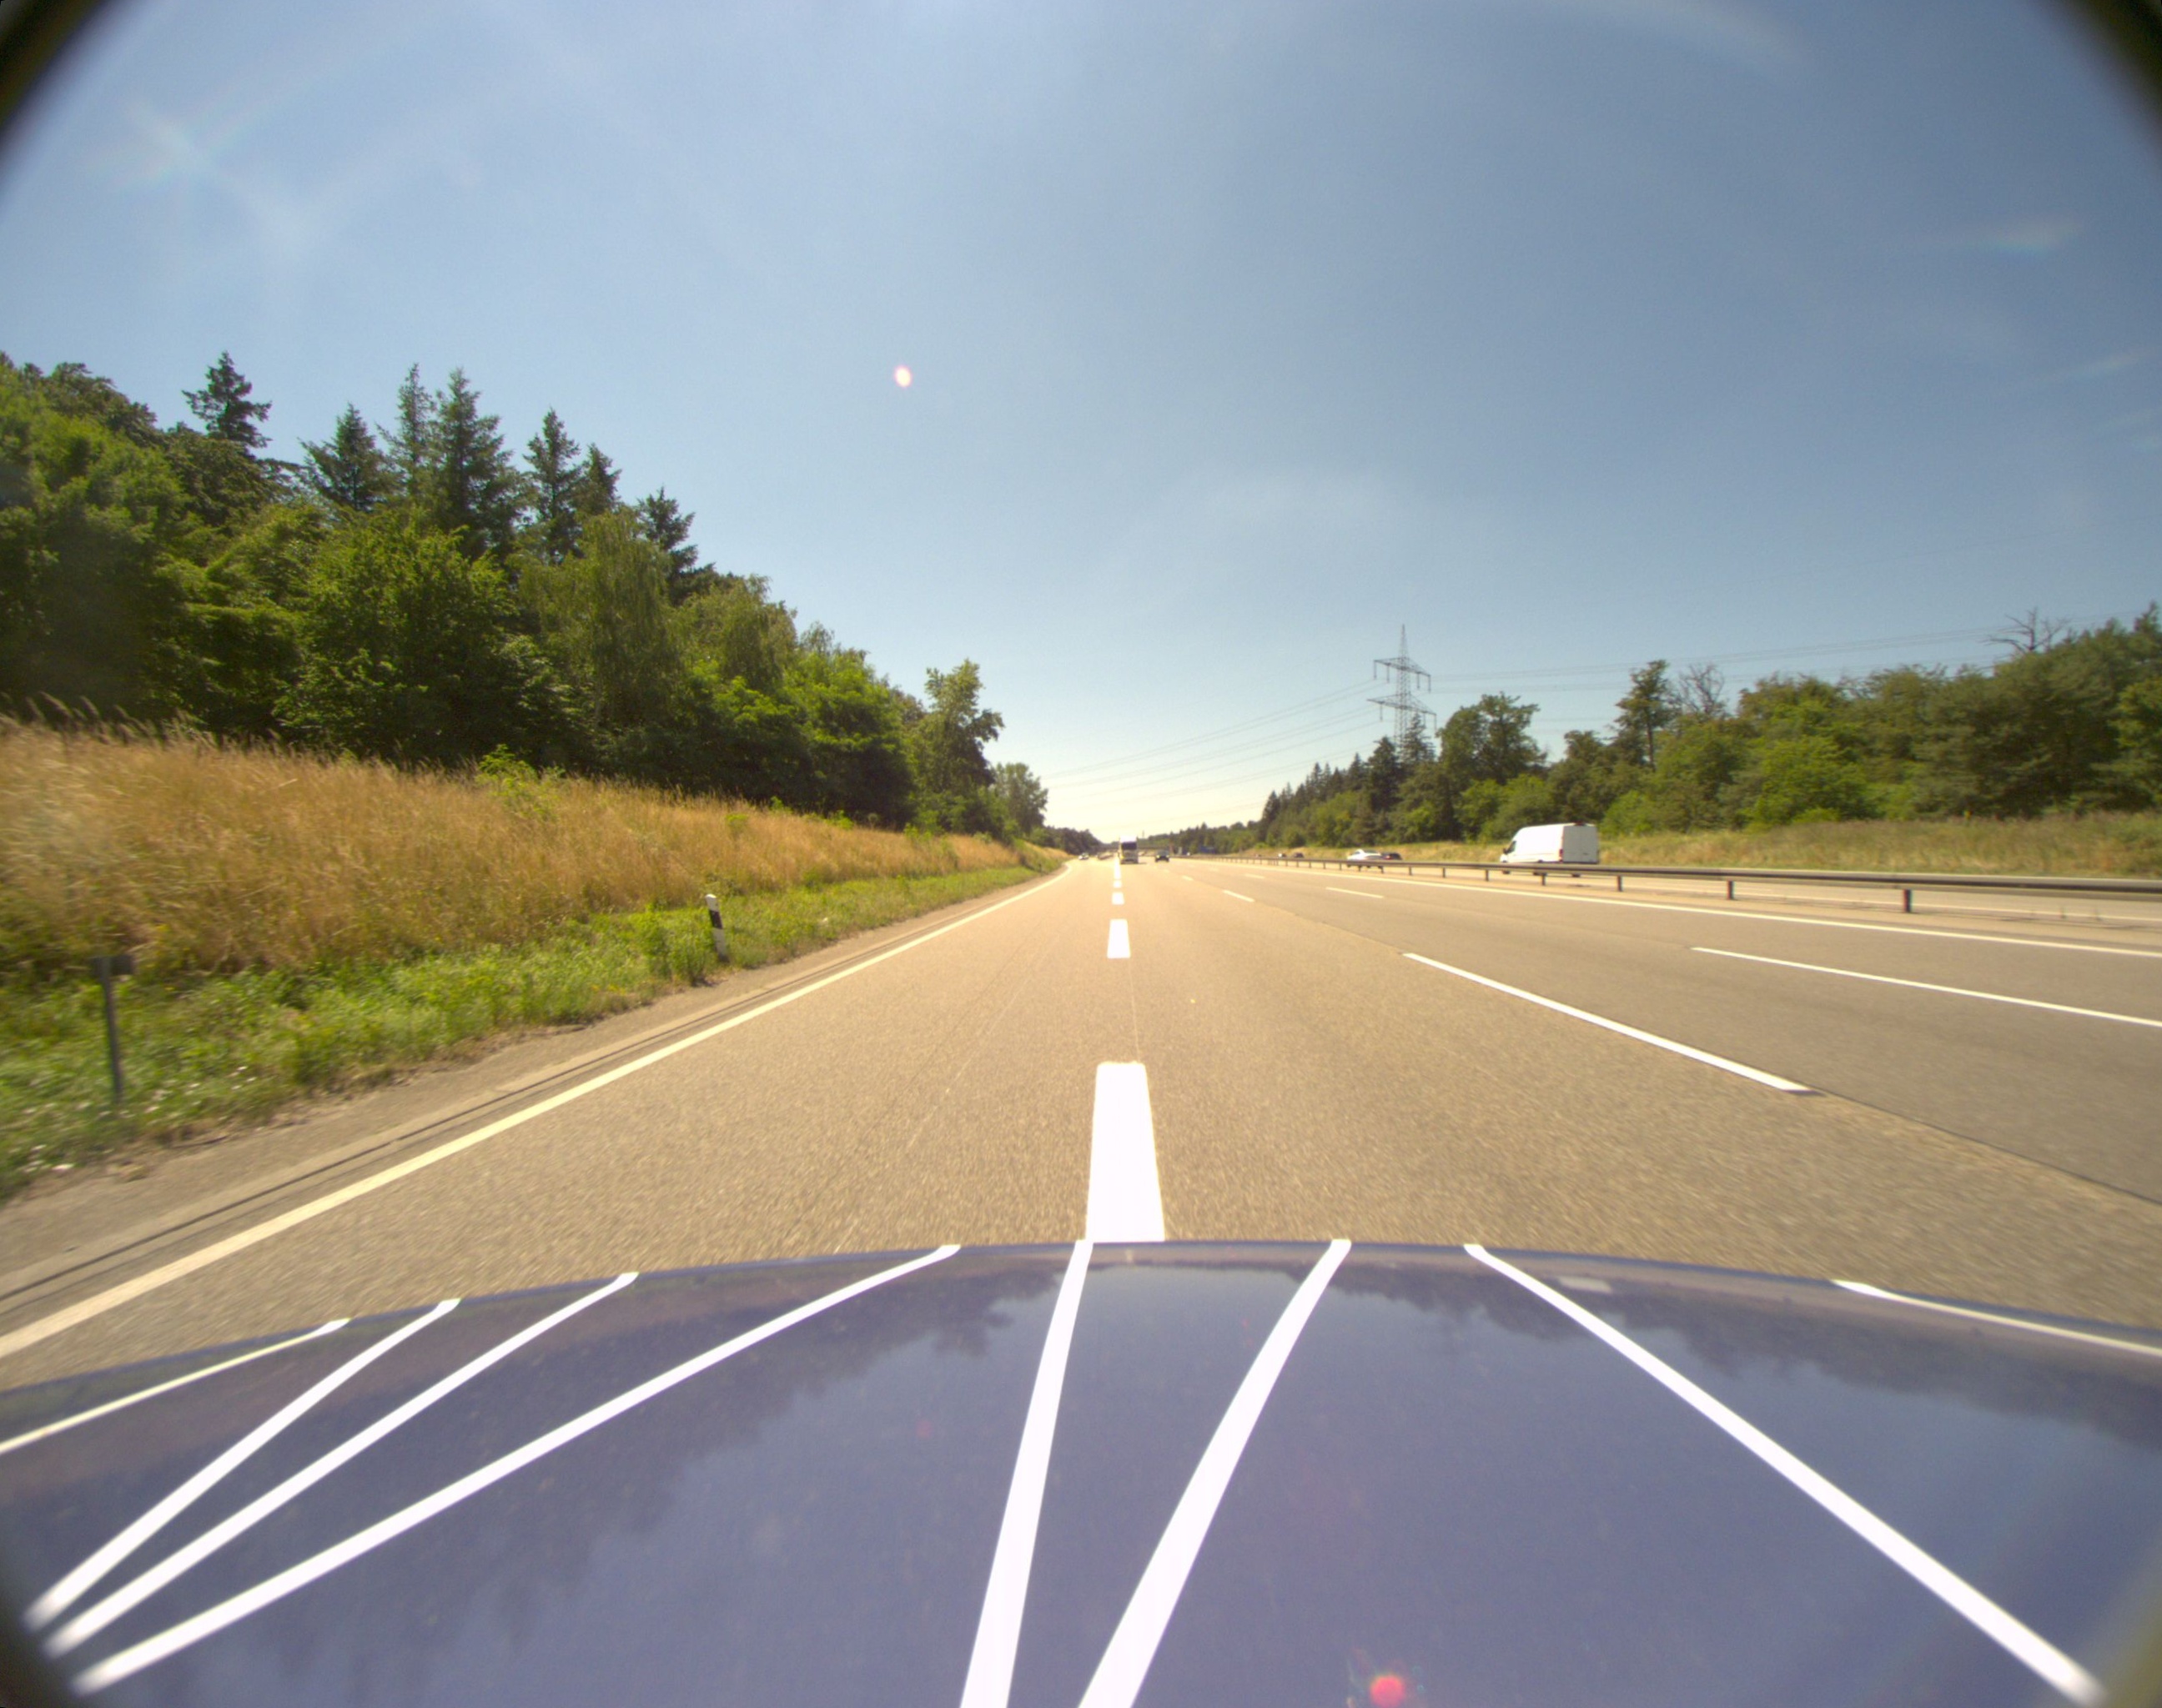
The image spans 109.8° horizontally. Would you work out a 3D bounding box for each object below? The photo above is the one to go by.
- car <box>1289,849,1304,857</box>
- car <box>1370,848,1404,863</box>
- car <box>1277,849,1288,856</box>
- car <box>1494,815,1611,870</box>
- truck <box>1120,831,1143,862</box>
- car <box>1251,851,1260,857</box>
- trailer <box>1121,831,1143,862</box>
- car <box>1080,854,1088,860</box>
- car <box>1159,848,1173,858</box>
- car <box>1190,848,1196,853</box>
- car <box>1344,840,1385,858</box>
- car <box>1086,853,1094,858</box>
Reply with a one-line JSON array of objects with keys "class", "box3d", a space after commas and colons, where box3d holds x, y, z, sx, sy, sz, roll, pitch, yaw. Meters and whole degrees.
[{"class": "car", "box3d": [41.976, -0.196, 148.037, 1.793, 1.412, 4.436, -2, 1, 4]}, {"class": "car", "box3d": [30.737, 0.139, 76.447, 1.695, 1.383, 4.676, 1, 0, 3]}, {"class": "car", "box3d": [45.891, -0.284, 172.800, 1.562, 1.518, 4.000, -3, 1, 3]}, {"class": "car", "box3d": [25.552, -0.593, 41.576, 2.348, 2.695, 6.874, 1, 0, 3]}, {"class": "truck", "box3d": [7.044, -1.030, 105.583, 2.979, 4.118, 5.350, -1, 0, 5]}, {"class": "car", "box3d": [46.240, -0.106, 201.327, 1.625, 1.469, 3.567, -1, 0, 3]}, {"class": "trailer", "box3d": [7.495, -1.039, 111.319, 2.981, 4.118, 11.699, -1, 0, 5]}, {"class": "car", "box3d": [0.853, 0.772, 213.450, 1.898, 1.417, 4.262, -3, 0, 5]}, {"class": "car", "box3d": [12.908, -0.113, 115.710, 1.898, 1.417, 4.262, -3, 0, 5]}, {"class": "car", "box3d": [36.717, -1.133, 249.301, 1.566, 1.348, 3.567, -1, 0, 3]}, {"class": "car", "box3d": [22.361, -0.369, 60.107, 1.695, 1.383, 4.676, 1, 0, 3]}, {"class": "car", "box3d": [2.840, 0.357, 240.358, 1.898, 1.417, 4.262, -3, 0, 5]}]
